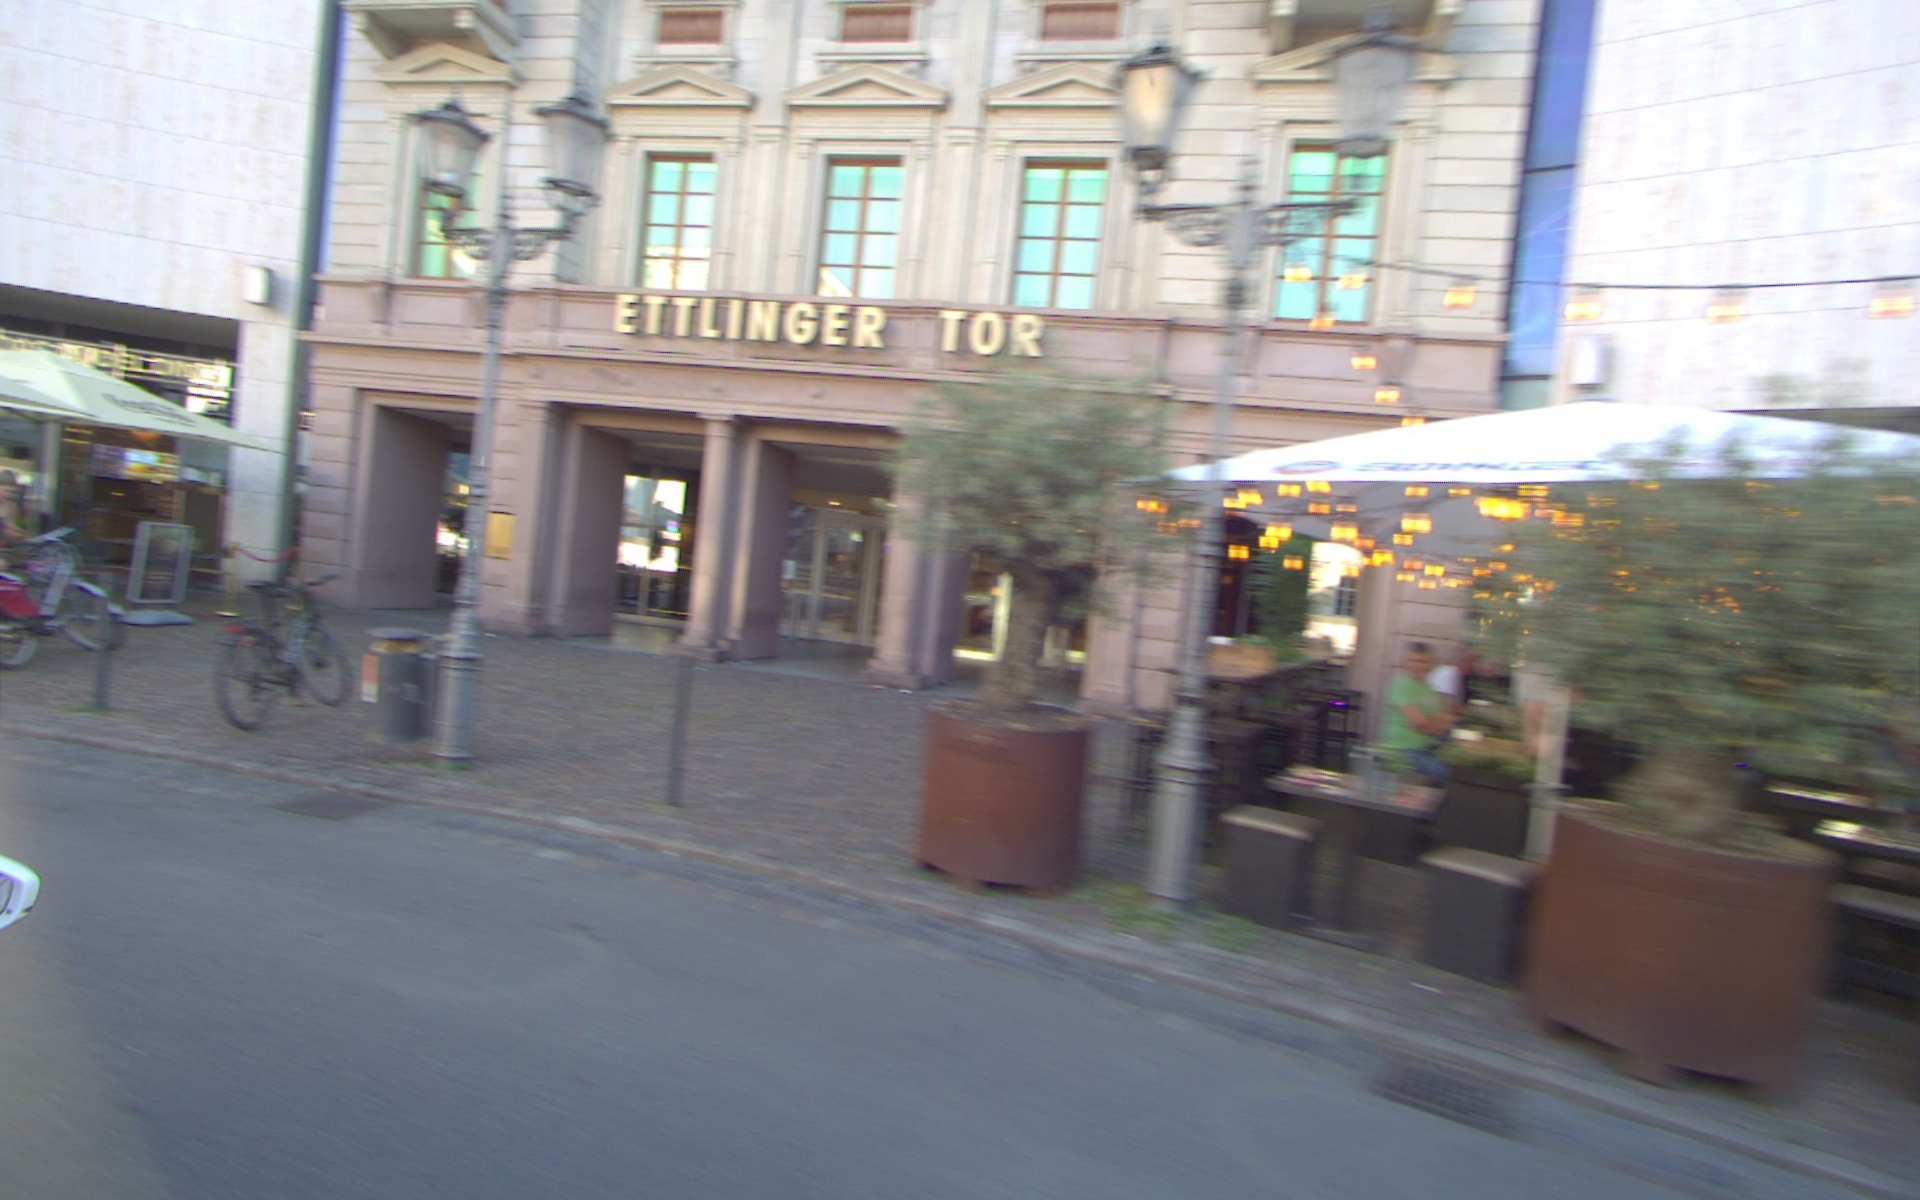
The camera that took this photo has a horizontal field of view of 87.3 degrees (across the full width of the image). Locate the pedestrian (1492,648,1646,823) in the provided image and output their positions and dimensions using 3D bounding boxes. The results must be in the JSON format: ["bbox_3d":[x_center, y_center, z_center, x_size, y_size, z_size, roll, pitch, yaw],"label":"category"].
[{"bbox_3d":[5.708,1.248,9.448,0.767,1.466,0.845,5,2,-33],"label":"pedestrian"}]

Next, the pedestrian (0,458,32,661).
[{"bbox_3d":[-7.972,-0.353,7.932,0.741,1.609,0.708,5,2,-31],"label":"pedestrian"}]

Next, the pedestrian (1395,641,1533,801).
[{"bbox_3d":[5.109,1.212,10.224,0.767,1.466,0.845,5,2,-33],"label":"pedestrian"}]

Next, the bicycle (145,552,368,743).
[{"bbox_3d":[-5.091,0.273,7.429,0.597,1.143,1.899,6,3,-13],"label":"bicycle"}]

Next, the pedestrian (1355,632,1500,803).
[{"bbox_3d":[4.471,1.108,9.644,0.767,1.466,0.844,5,2,-35],"label":"pedestrian"}]

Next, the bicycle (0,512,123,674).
[{"bbox_3d":[-7.729,-0.115,8.385,0.599,1.143,1.893,5,3,-24],"label":"bicycle"}]

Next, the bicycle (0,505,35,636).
[{"bbox_3d":[-8.672,-0.236,8.516,0.599,1.143,1.893,5,3,-24],"label":"bicycle"}]

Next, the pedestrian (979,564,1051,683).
[{"bbox_3d":[0.886,0.376,16.109,0.855,1.770,0.716,7,2,14],"label":"pedestrian"}]

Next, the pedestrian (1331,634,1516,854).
[{"bbox_3d":[3.450,1.053,7.541,0.714,1.466,0.860,5,2,-25],"label":"pedestrian"}]

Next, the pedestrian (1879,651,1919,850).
[{"bbox_3d":[9.368,1.451,9.442,0.724,1.826,0.840,5,2,-40],"label":"pedestrian"}]

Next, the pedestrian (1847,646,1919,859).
[{"bbox_3d":[8.789,1.396,9.047,0.723,1.826,0.970,5,2,-42],"label":"pedestrian"}]

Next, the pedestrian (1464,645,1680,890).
[{"bbox_3d":[4.139,1.106,6.850,0.714,1.466,0.860,5,2,-25],"label":"pedestrian"}]
